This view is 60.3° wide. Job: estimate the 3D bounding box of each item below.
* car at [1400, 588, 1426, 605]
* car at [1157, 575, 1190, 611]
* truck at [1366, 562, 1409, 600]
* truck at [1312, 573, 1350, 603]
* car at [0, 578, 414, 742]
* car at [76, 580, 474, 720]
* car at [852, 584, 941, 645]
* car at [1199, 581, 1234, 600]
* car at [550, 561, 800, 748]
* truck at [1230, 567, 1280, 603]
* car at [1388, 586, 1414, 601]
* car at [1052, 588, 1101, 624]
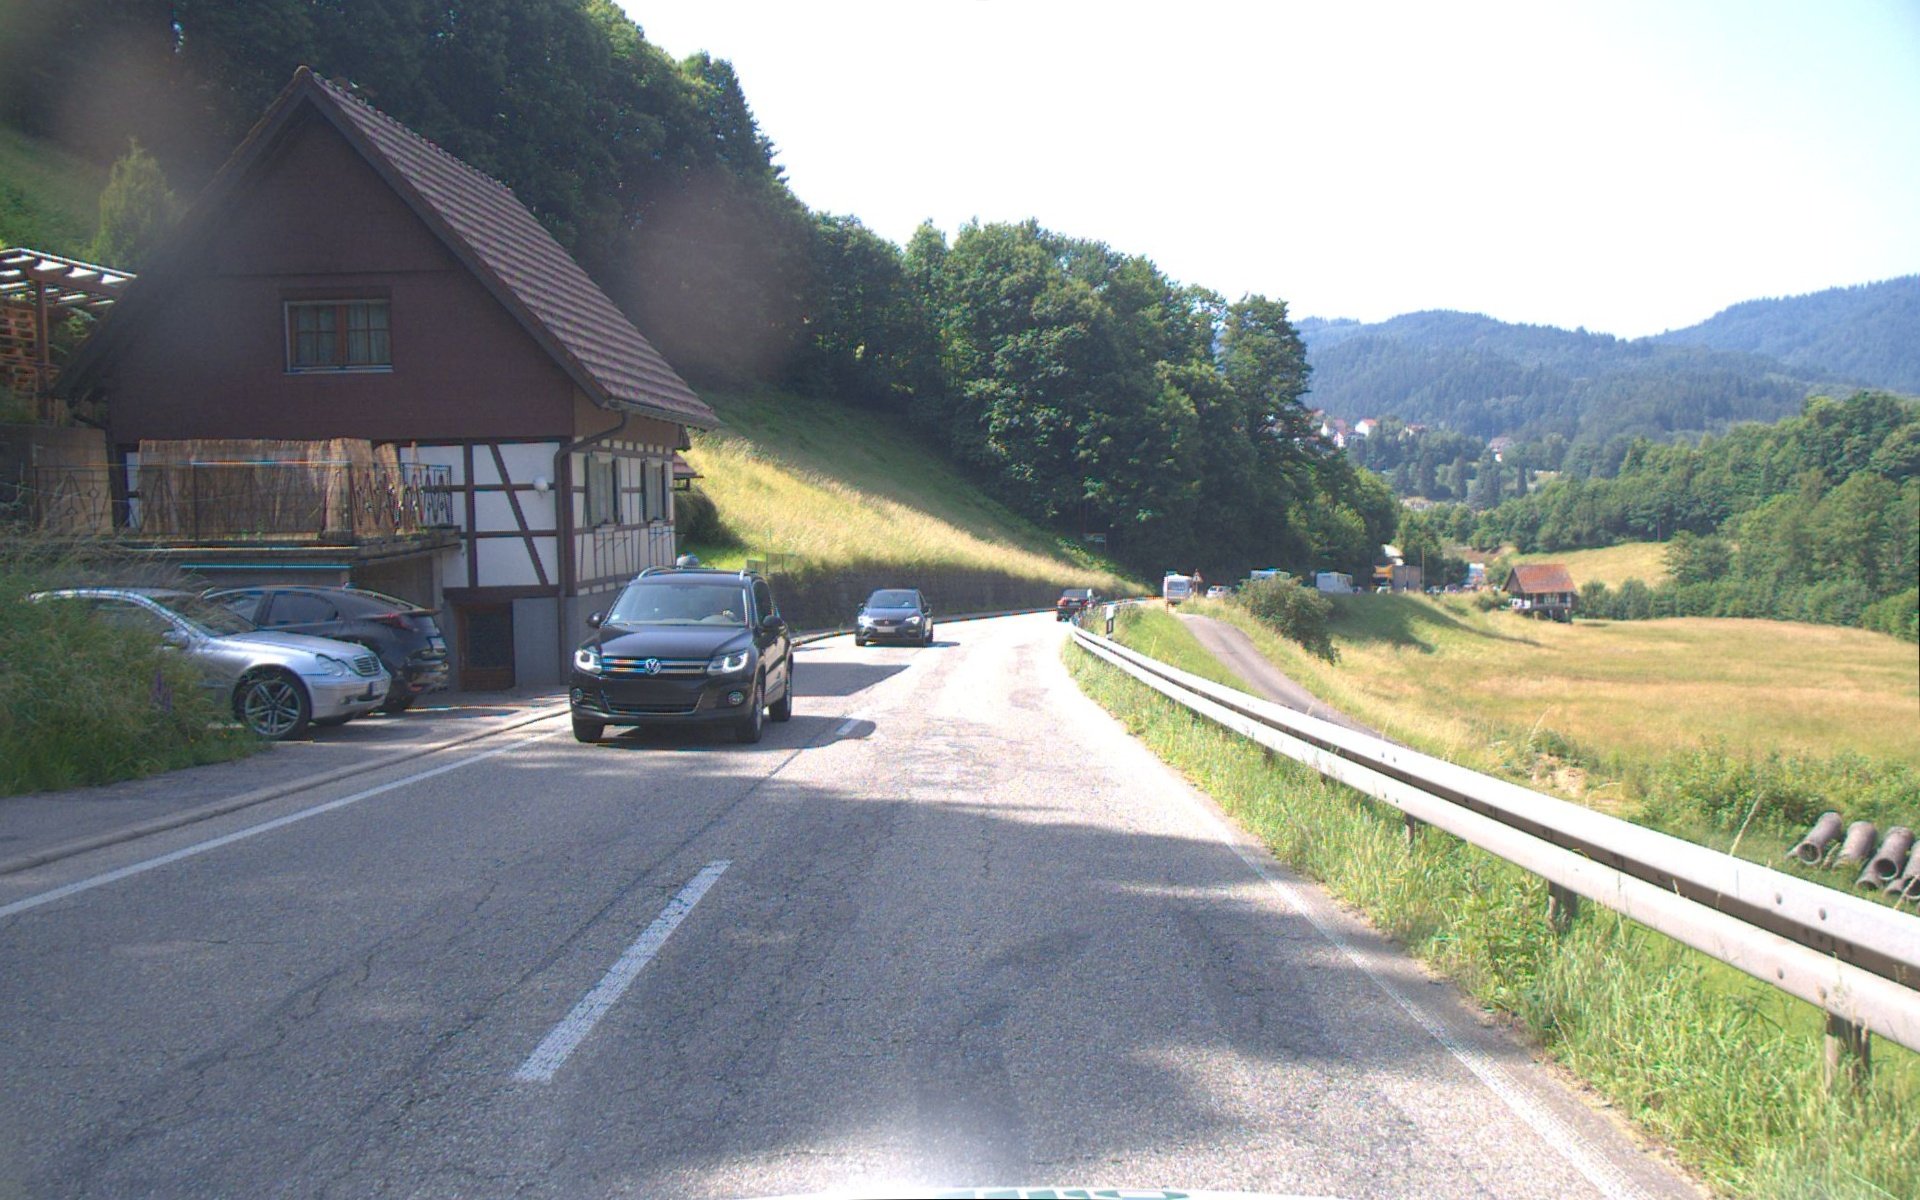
[{"bbox_3d":[55.236,-0.463,201.578,1.958,1.959,3.990,4,2,32],"label":"car"},{"bbox_3d":[15.631,-0.545,120.901,1.951,2.393,4.919,2,2,12],"label":"car"},{"bbox_3d":[53.520,-2.316,206.777,3.132,4.472,6.554,4,2,32],"label":"truck"},{"bbox_3d":[38.887,-1.214,173.062,2.195,2.852,6.222,3,0,28],"label":"truck"},{"bbox_3d":[-7.521,0.538,16.111,3.736,1.441,1.858,1,1,3],"label":"car"},{"bbox_3d":[-7.698,0.527,18.834,3.736,1.458,1.865,1,1,3],"label":"car"},{"bbox_3d":[-1.614,0.337,43.379,1.727,1.420,4.148,1,2,6],"label":"car"},{"bbox_3d":[21.517,-0.800,138.708,1.953,1.509,4.000,4,2,22],"label":"car"},{"bbox_3d":[-2.763,0.461,16.981,1.850,1.673,4.257,0,1,-1],"label":"car"},{"bbox_3d":[27.468,-1.421,153.842,2.736,3.049,6.864,4,2,24],"label":"truck"},{"bbox_3d":[51.394,-0.717,192.765,1.873,1.511,3.991,6,2,31],"label":"car"},{"bbox_3d":[5.009,0.245,70.863,1.733,1.358,3.771,2,2,9],"label":"car"}]
